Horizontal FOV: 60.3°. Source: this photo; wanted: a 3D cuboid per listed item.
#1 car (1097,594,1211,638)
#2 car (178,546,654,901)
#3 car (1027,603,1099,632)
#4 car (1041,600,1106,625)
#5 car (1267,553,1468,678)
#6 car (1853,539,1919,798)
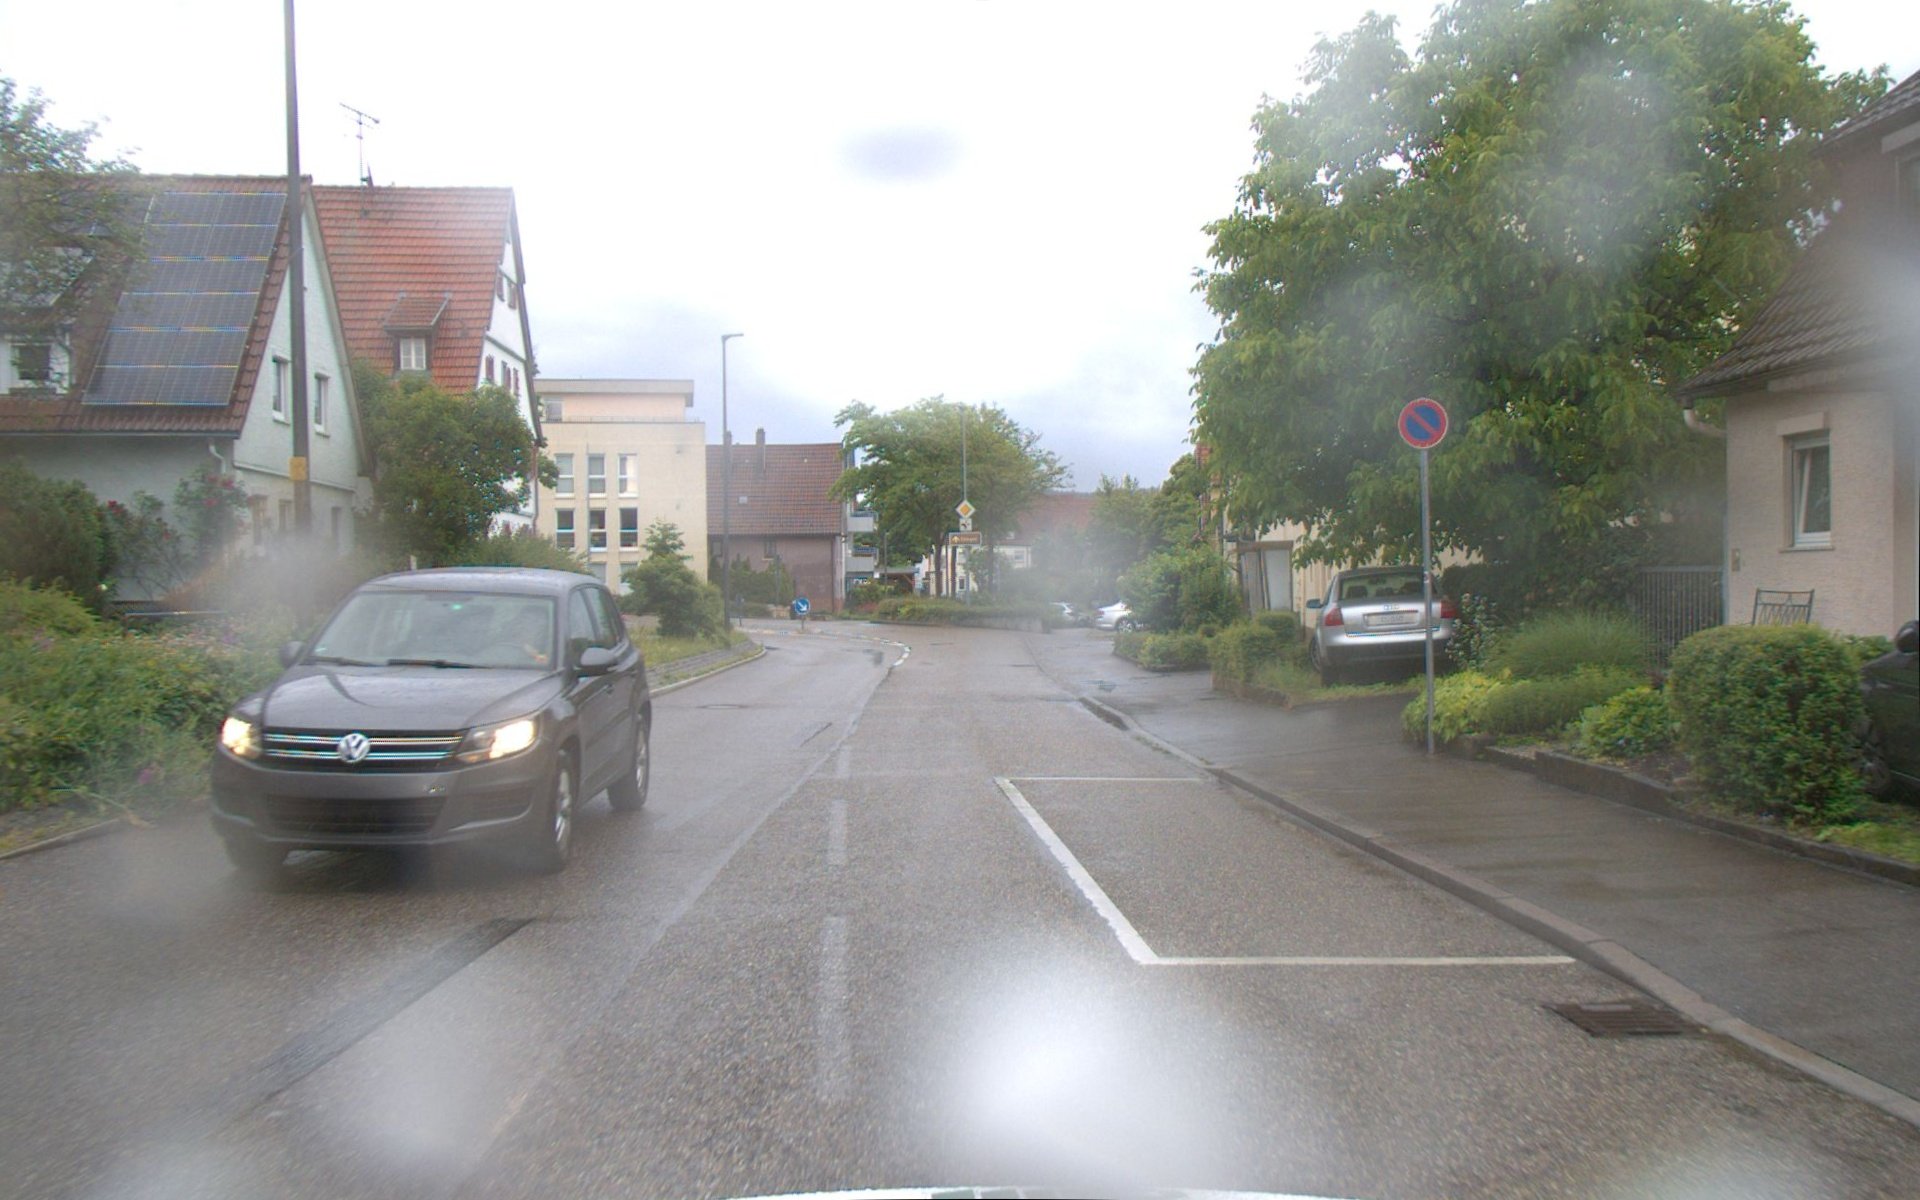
[{"bbox_3d":[6.929,0.567,58.936,3.869,1.433,2.002,-2,-1,10],"label":"car"},{"bbox_3d":[-2.966,0.584,9.916,1.762,1.669,3.997,-1,0,-4],"label":"car"},{"bbox_3d":[6.003,1.004,95.946,3.902,1.655,2.002,-1,0,12],"label":"car"},{"bbox_3d":[7.042,0.757,102.082,3.902,1.444,2.001,-1,0,6],"label":"car"},{"bbox_3d":[5.153,0.178,21.376,1.605,1.455,3.676,-1,0,-1],"label":"car"},{"bbox_3d":[5.807,0.340,7.912,1.722,1.417,4.003,-7,0,15],"label":"car"}]
